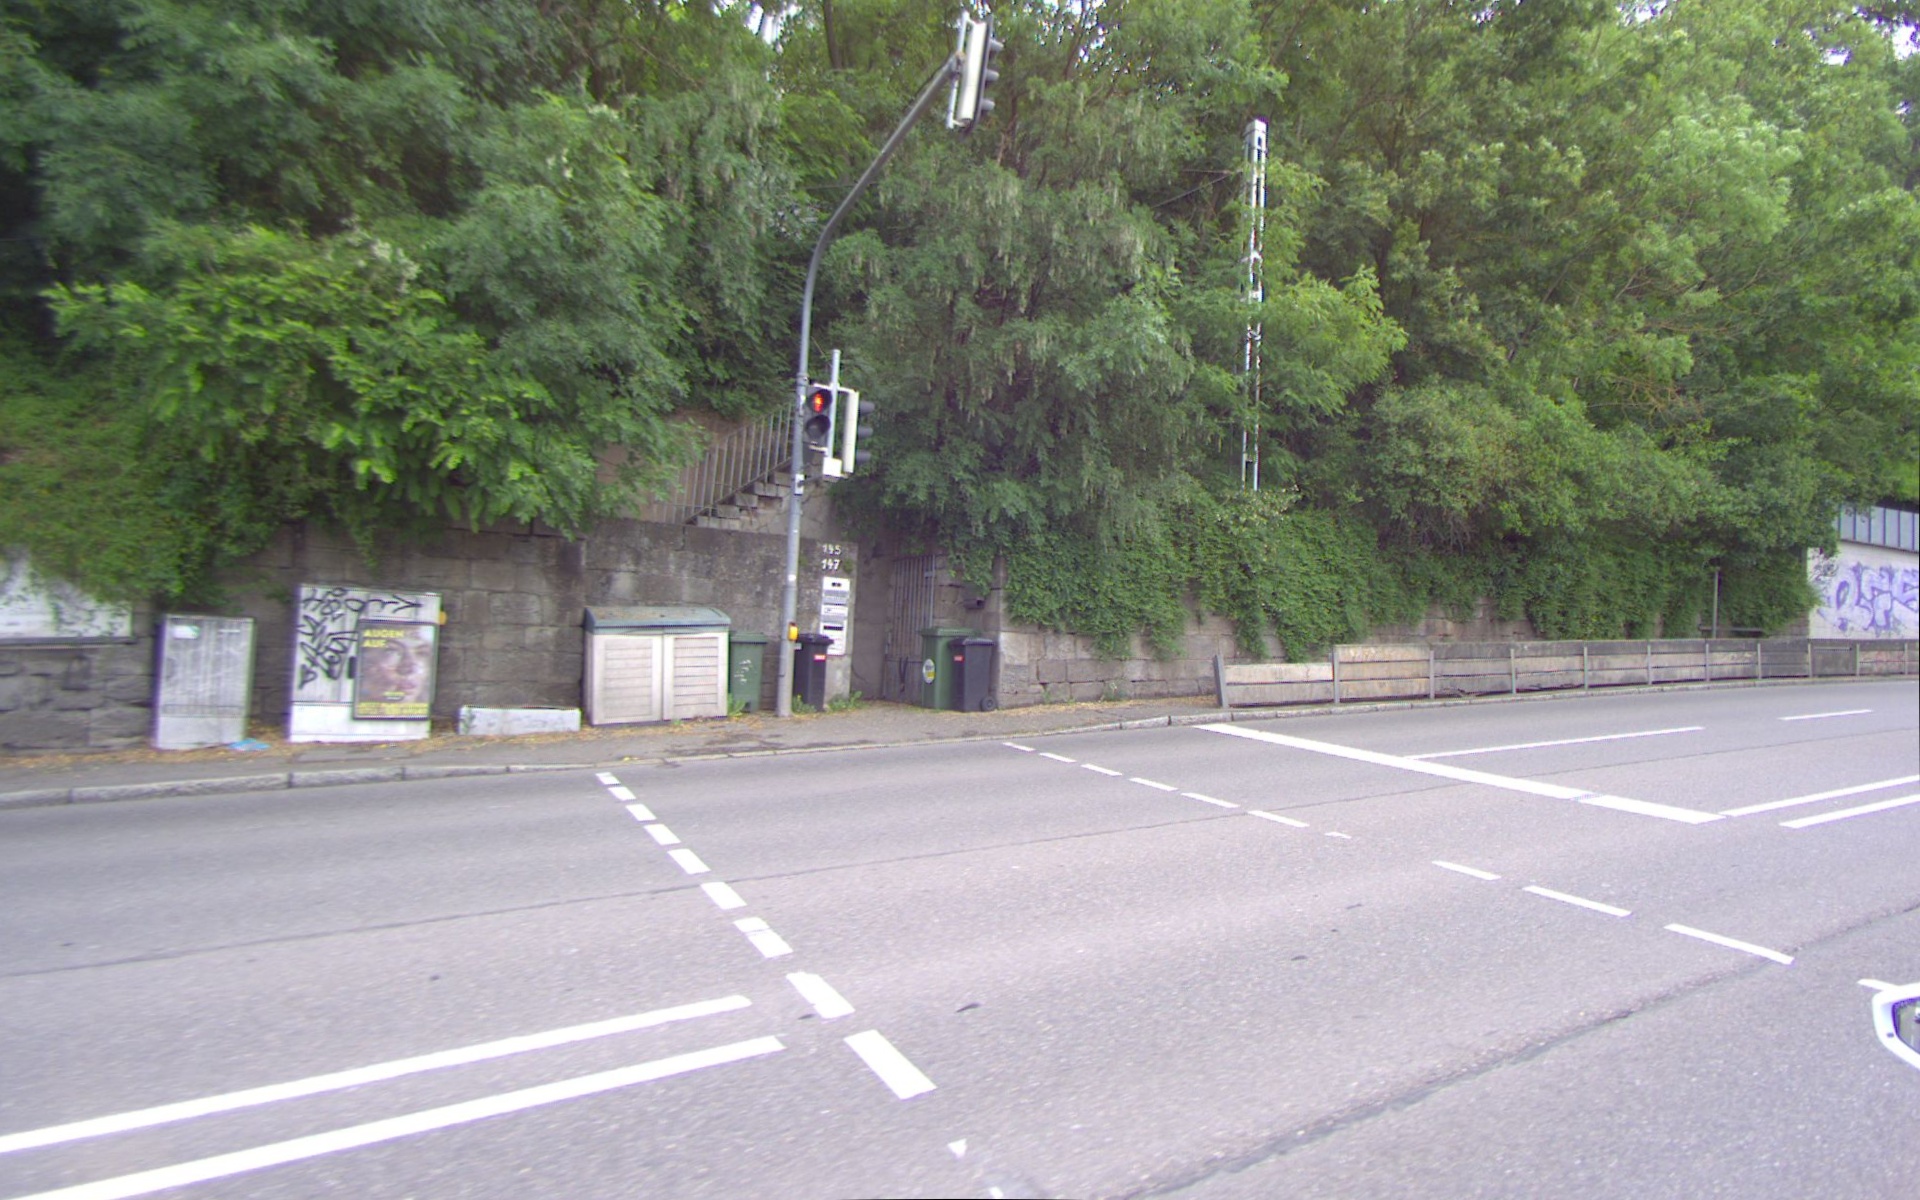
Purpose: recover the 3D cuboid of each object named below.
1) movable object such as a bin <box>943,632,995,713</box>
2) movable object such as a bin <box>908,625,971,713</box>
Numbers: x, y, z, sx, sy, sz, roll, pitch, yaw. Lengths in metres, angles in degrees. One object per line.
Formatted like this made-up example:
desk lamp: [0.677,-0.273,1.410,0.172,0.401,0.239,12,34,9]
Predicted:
movable object such as a bin: [0.112,0.899,12.569,0.473,0.963,0.425,1,1,-31]
movable object such as a bin: [-0.268,0.877,13.018,0.550,1.081,0.638,1,1,-31]
